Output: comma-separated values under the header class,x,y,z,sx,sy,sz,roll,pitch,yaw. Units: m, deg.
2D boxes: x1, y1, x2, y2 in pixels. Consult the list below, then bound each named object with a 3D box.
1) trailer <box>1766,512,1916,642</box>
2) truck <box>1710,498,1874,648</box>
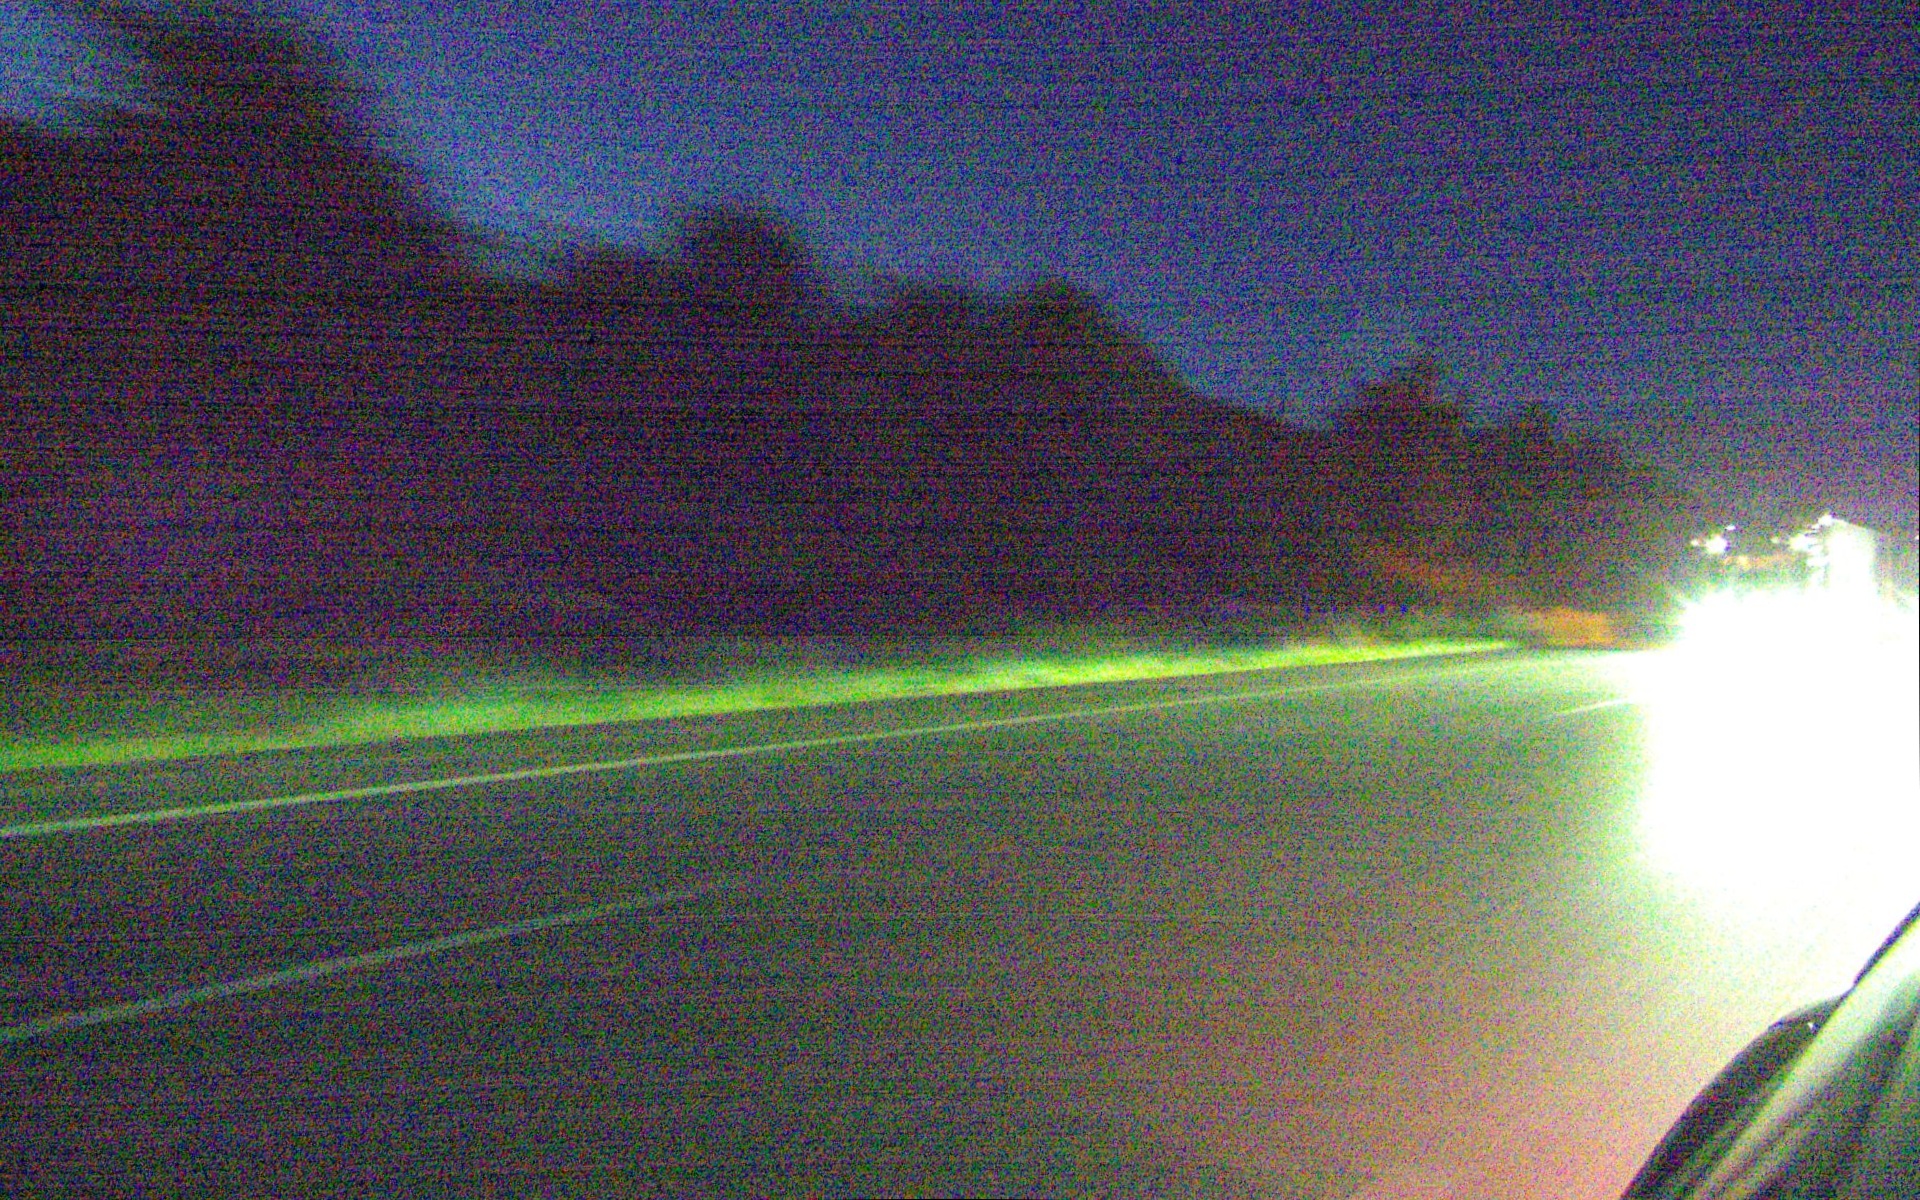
class,x,y,z,sx,sy,sz,roll,pitch,yaw
trailer,31.740,-0.701,36.284,9.831,4.124,2.596,0,-1,-40
truck,25.895,-0.728,31.364,7.537,4.124,2.596,0,-1,-40
